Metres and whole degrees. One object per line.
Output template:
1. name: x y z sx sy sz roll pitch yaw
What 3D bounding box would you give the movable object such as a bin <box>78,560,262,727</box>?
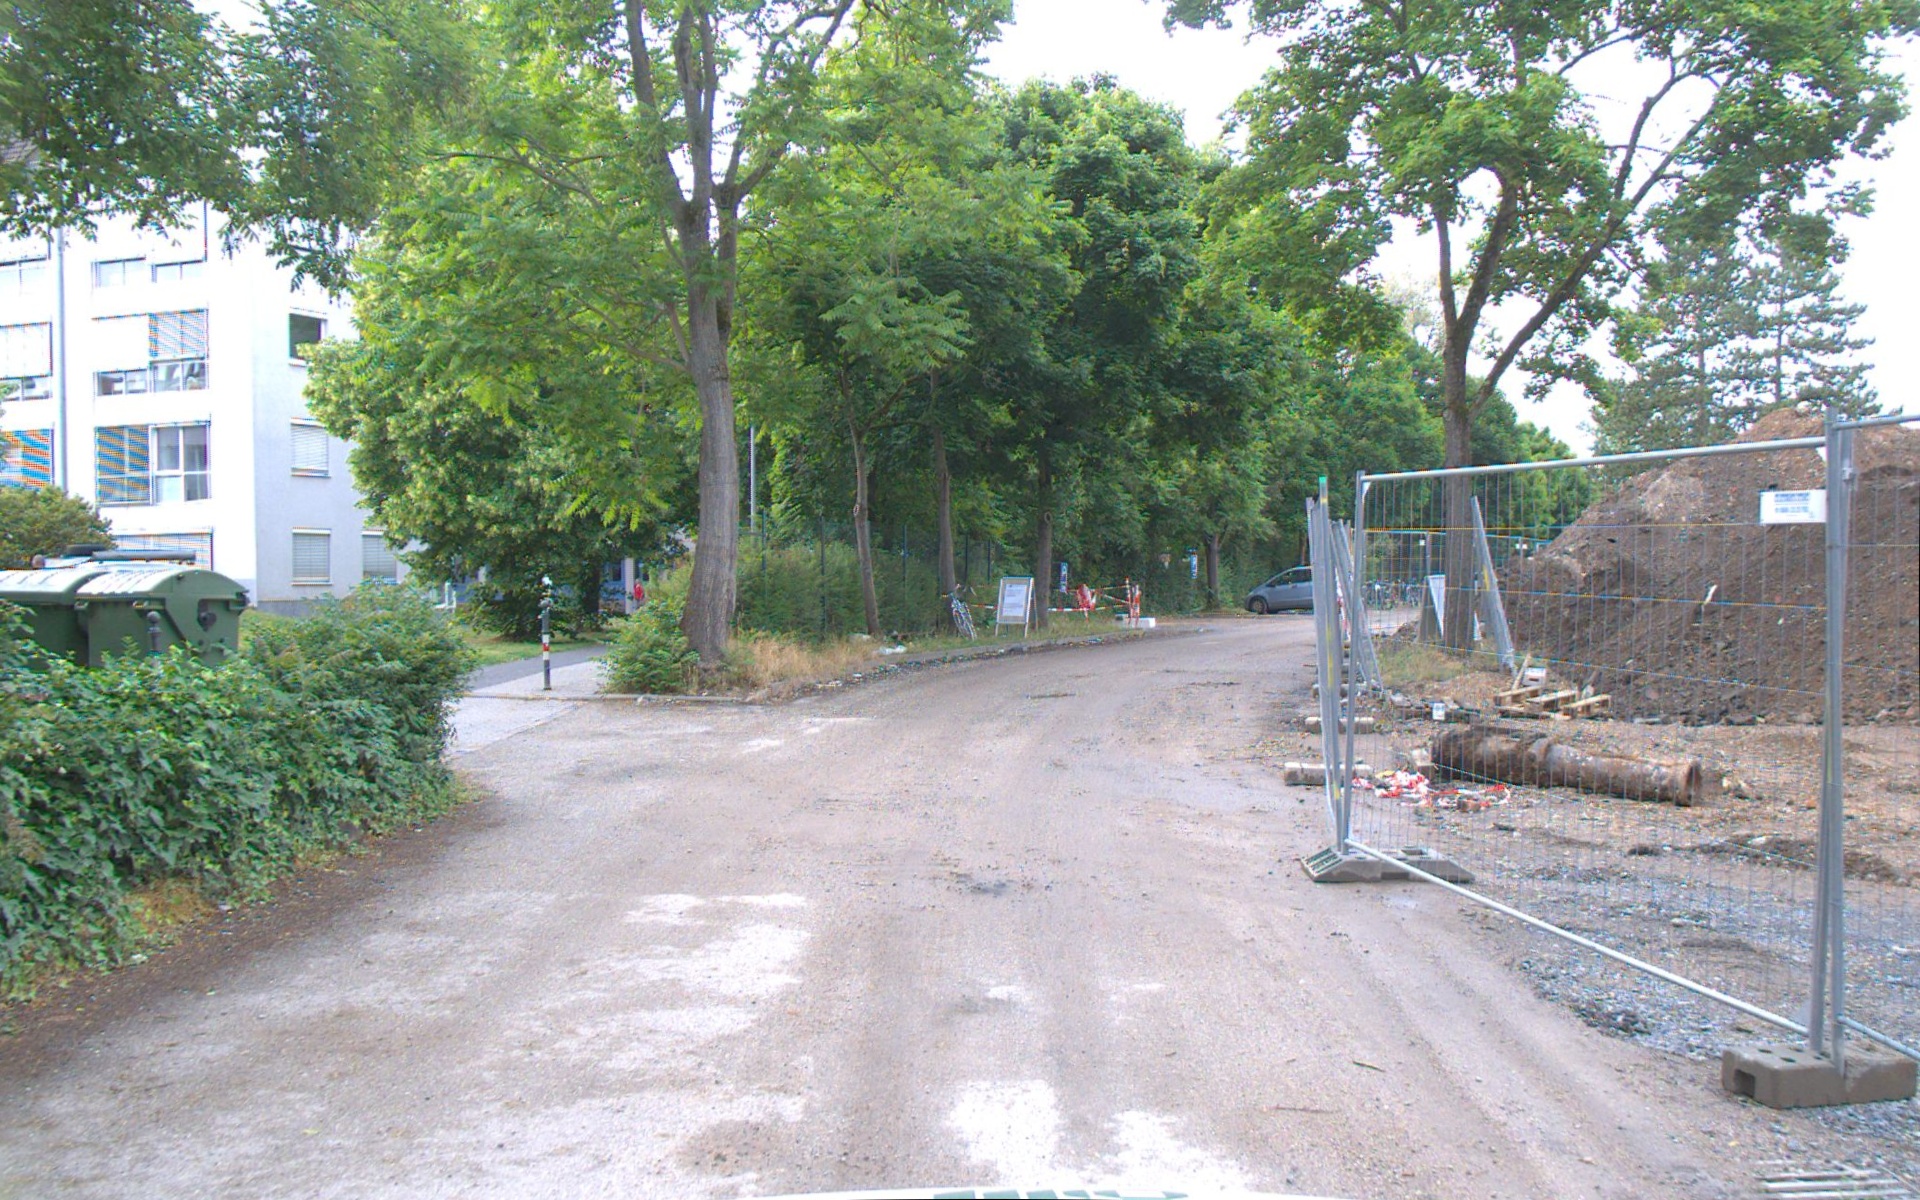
1. movable object such as a bin: -7.430 0.372 15.560 1.327 1.475 1.052 2 2 34

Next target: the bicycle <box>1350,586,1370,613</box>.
1. bicycle: 15.867 -0.025 65.547 0.754 0.995 2.033 0 1 14

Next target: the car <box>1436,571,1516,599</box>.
1. car: 29.551 -0.880 94.752 3.909 1.534 1.998 0 1 -5

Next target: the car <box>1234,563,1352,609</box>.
1. car: 11.472 -0.501 57.021 3.629 1.527 1.865 0 1 29

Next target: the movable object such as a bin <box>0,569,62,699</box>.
1. movable object such as a bin: -10.075 0.334 16.804 1.321 1.287 1.056 0 1 20

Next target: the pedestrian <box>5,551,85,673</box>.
1. pedestrian: -14.223 0.184 25.718 0.682 1.840 0.756 -2 0 22

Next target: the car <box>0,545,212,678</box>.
1. car: -14.971 0.173 27.781 1.810 2.049 4.352 -2 0 21

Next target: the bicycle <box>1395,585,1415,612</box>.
1. bicycle: 17.522 -0.064 65.150 0.754 0.995 2.033 0 1 14

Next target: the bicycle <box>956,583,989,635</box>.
1. bicycle: 0.227 0.153 29.762 0.409 0.921 1.155 0 1 9
